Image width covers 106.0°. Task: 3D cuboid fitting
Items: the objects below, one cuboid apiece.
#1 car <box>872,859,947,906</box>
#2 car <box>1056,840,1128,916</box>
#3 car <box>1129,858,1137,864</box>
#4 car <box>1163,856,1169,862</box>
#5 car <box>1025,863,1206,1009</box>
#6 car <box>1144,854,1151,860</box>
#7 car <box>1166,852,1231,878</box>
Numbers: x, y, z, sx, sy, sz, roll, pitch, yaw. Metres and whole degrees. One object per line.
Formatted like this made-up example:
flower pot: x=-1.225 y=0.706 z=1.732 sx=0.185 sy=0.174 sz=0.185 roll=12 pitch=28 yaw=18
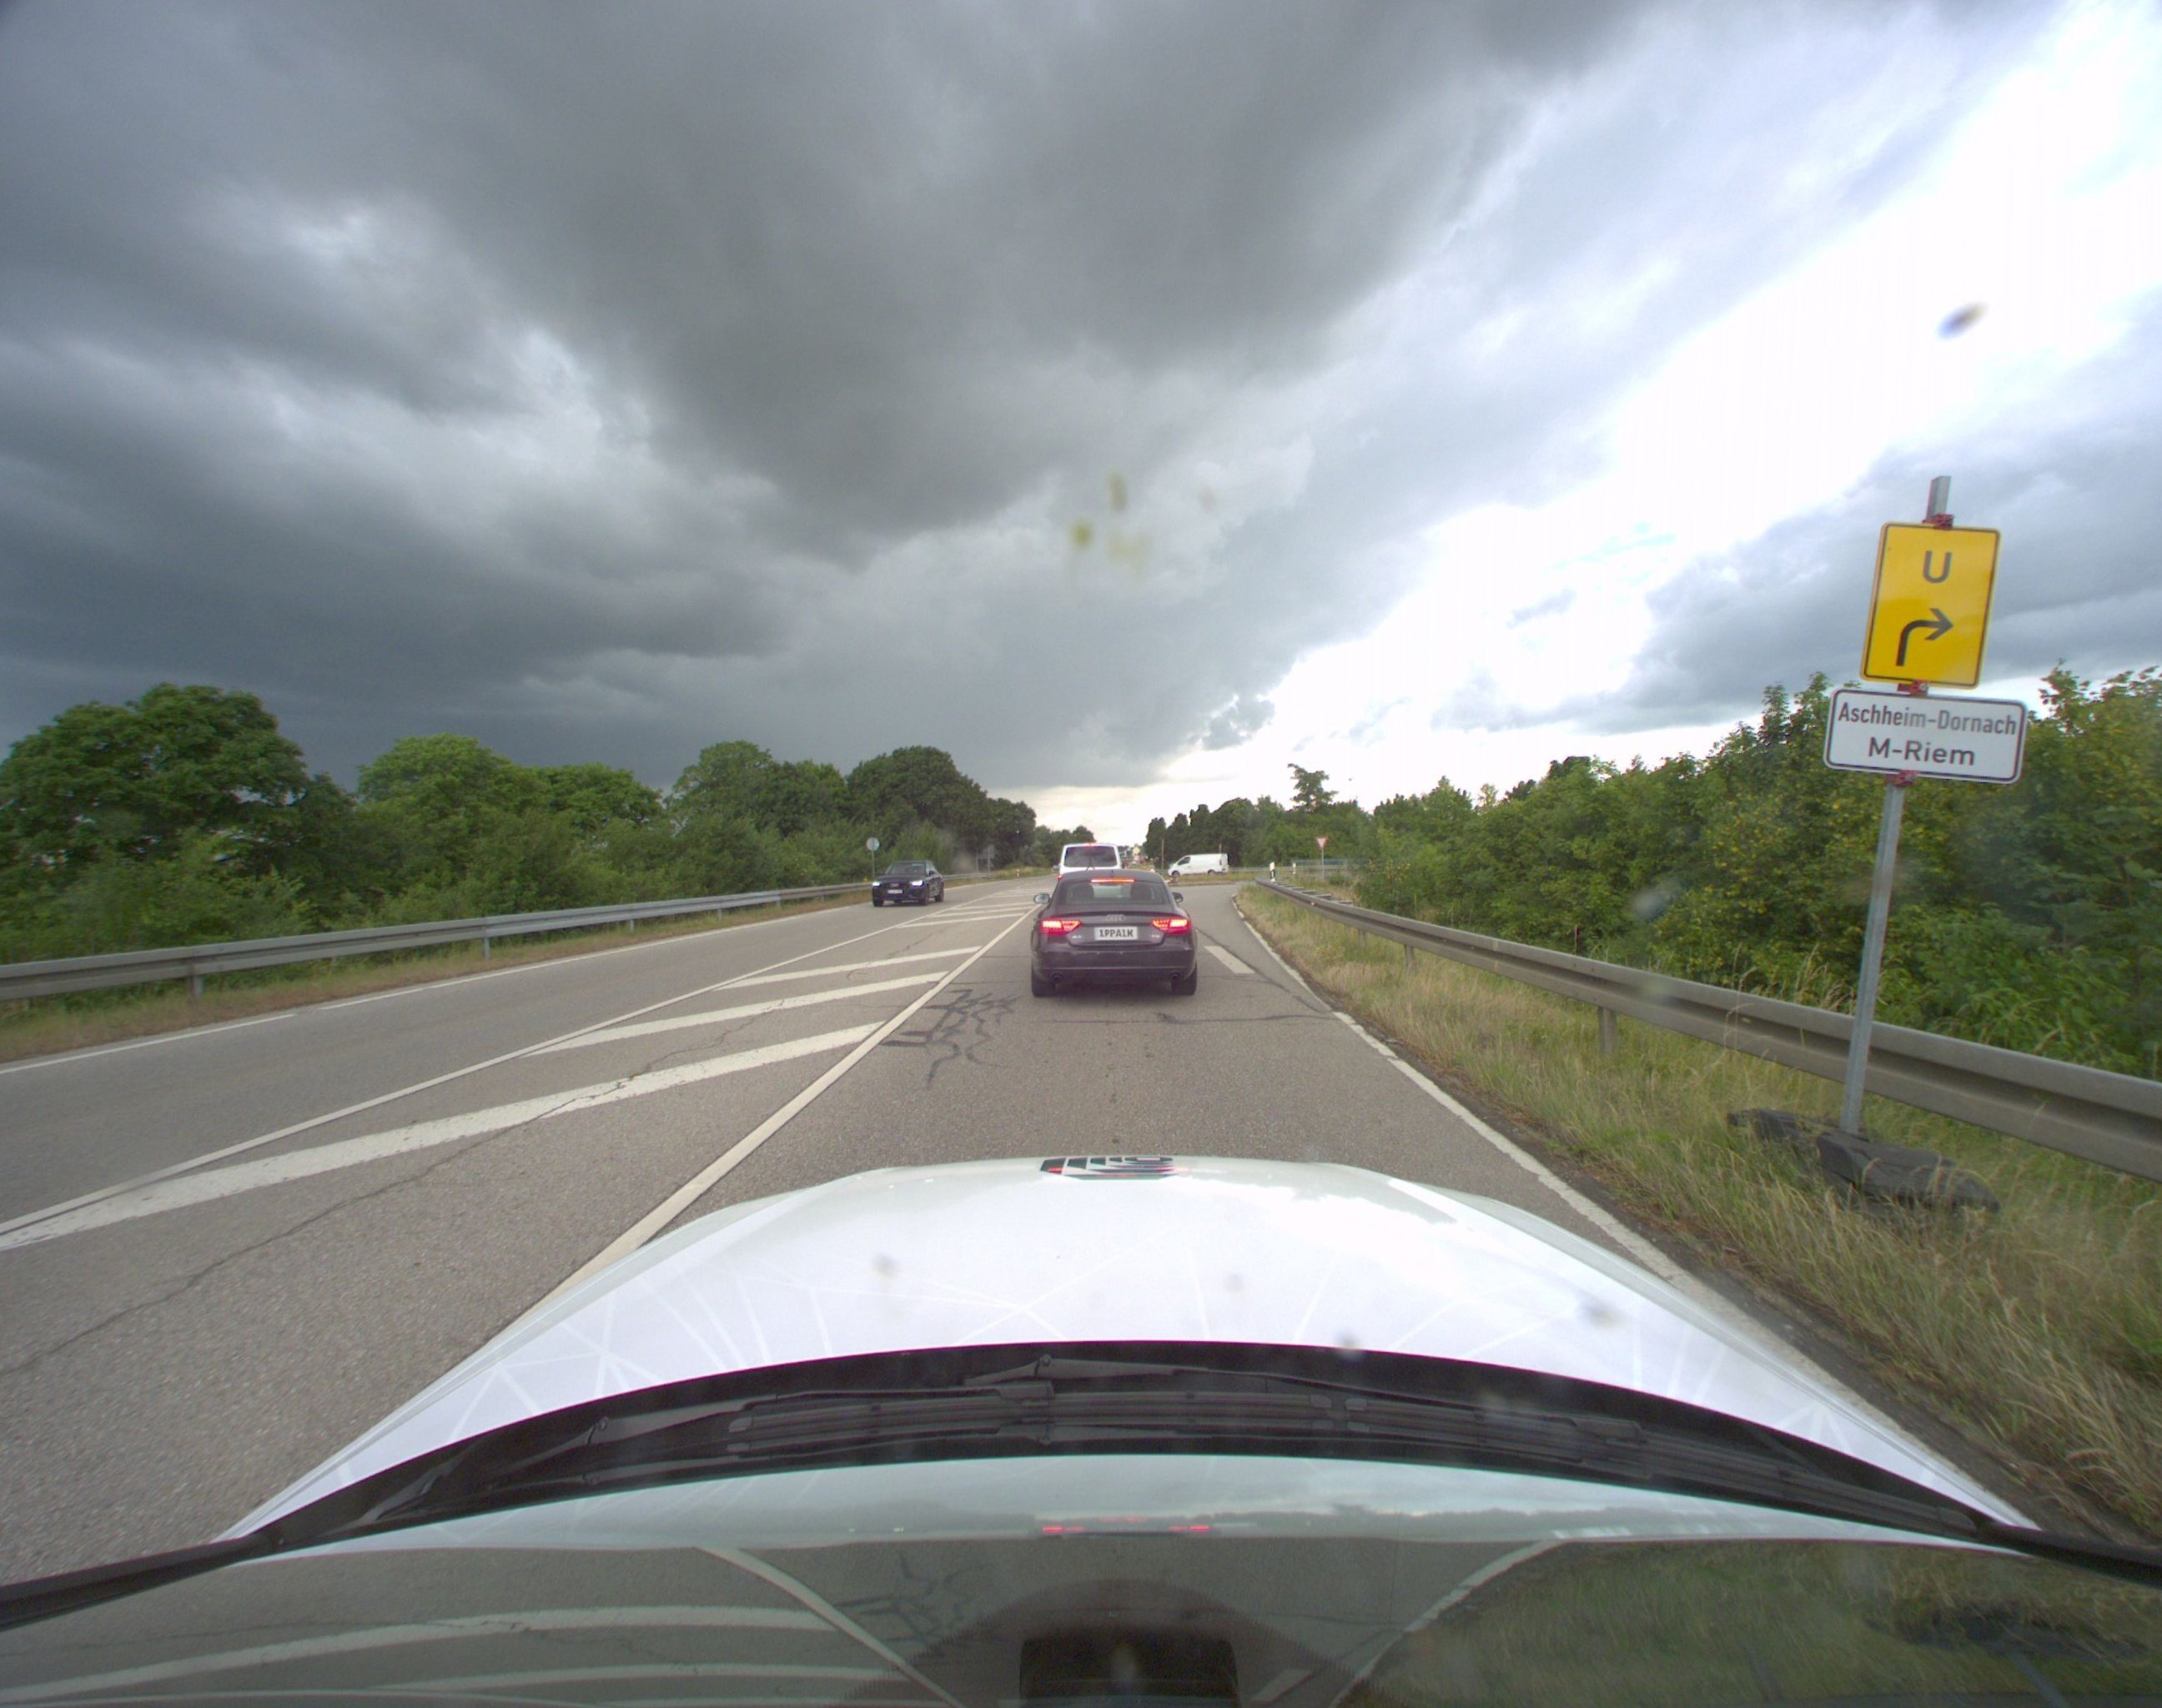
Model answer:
car: x=-6.073 y=0.967 z=29.284 sx=1.704 sy=1.518 sz=4.210 roll=-1 pitch=0 yaw=1
car: x=0.312 y=0.631 z=23.788 sx=1.904 sy=2.013 sz=4.000 roll=-1 pitch=0 yaw=0
car: x=15.300 y=2.014 z=240.980 sx=2.198 sy=1.582 sz=4.379 roll=-1 pitch=0 yaw=0
car: x=24.756 y=1.423 z=236.794 sx=1.866 sy=1.692 sz=4.007 roll=-1 pitch=0 yaw=7
car: x=0.351 y=0.837 z=9.771 sx=1.774 sy=1.399 sz=3.336 roll=-1 pitch=0 yaw=0
car: x=19.878 y=0.966 z=244.036 sx=1.985 sy=1.692 sz=4.003 roll=-1 pitch=0 yaw=3
car: x=9.563 y=0.881 z=66.510 sx=4.814 sy=2.064 sz=2.100 roll=-1 pitch=0 yaw=29
